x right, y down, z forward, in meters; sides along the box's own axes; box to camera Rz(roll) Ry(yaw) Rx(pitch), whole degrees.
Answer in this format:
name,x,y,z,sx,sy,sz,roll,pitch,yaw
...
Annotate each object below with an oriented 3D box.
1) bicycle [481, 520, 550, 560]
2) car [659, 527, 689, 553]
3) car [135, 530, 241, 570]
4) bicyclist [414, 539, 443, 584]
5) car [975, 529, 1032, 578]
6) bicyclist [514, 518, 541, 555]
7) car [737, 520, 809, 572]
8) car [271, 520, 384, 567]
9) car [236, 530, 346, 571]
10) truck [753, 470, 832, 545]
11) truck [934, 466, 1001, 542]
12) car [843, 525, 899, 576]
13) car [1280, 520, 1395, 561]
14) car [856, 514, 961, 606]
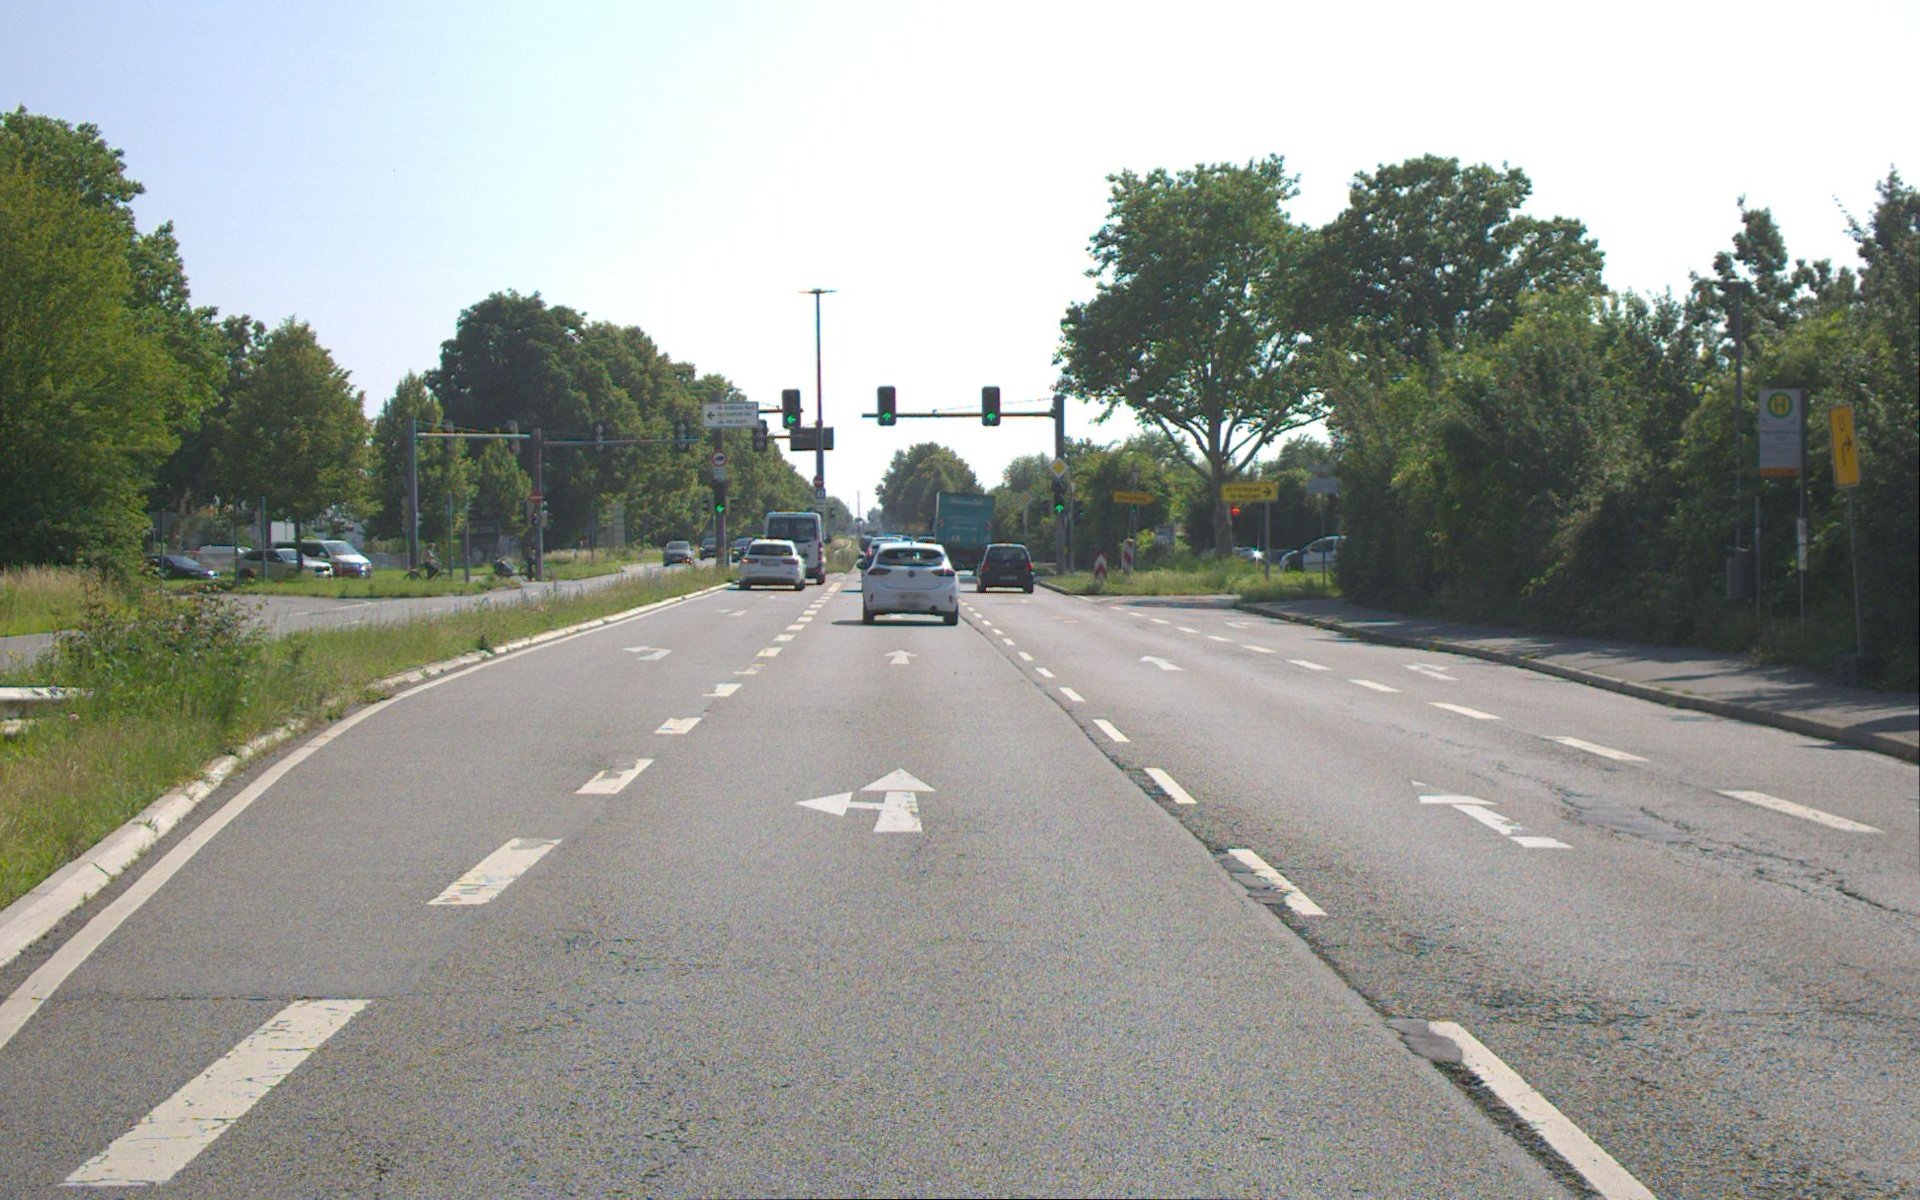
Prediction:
name,x,y,z,sx,sy,sz,roll,pitch,yaw
bicycle,-19.355,-2.600,149.633,2.796,1.664,1.134,0,2,26
car,-16.731,-3.542,201.336,1.485,1.409,3.763,-3,2,-1
car,-32.663,-2.106,145.440,4.262,1.600,2.001,0,2,34
bicyclist,-18.381,-1.335,118.963,0.847,1.512,0.747,1,2,4
car,1.262,-1.383,101.617,1.572,1.409,3.278,1,1,-1
bicyclist,-18.792,-2.769,149.324,0.863,1.613,0.757,1,1,27
car,-5.449,-1.596,100.398,1.812,1.459,4.971,1,1,0
car,-26.829,-2.383,145.816,4.649,1.943,1.996,0,2,34
car,-27.657,-2.034,142.037,4.262,1.600,2.001,0,2,34
truck,-5.466,-3.054,112.904,2.373,2.380,6.041,0,2,-1
truck,0.315,-4.482,159.618,2.891,3.417,9.170,0,2,-1
car,-2.577,-1.451,100.023,1.572,1.409,3.278,0,2,-1
car,13.676,-2.151,124.597,3.748,1.464,1.783,1,1,27
car,-0.909,-0.750,61.918,1.798,1.547,4.001,1,2,0
